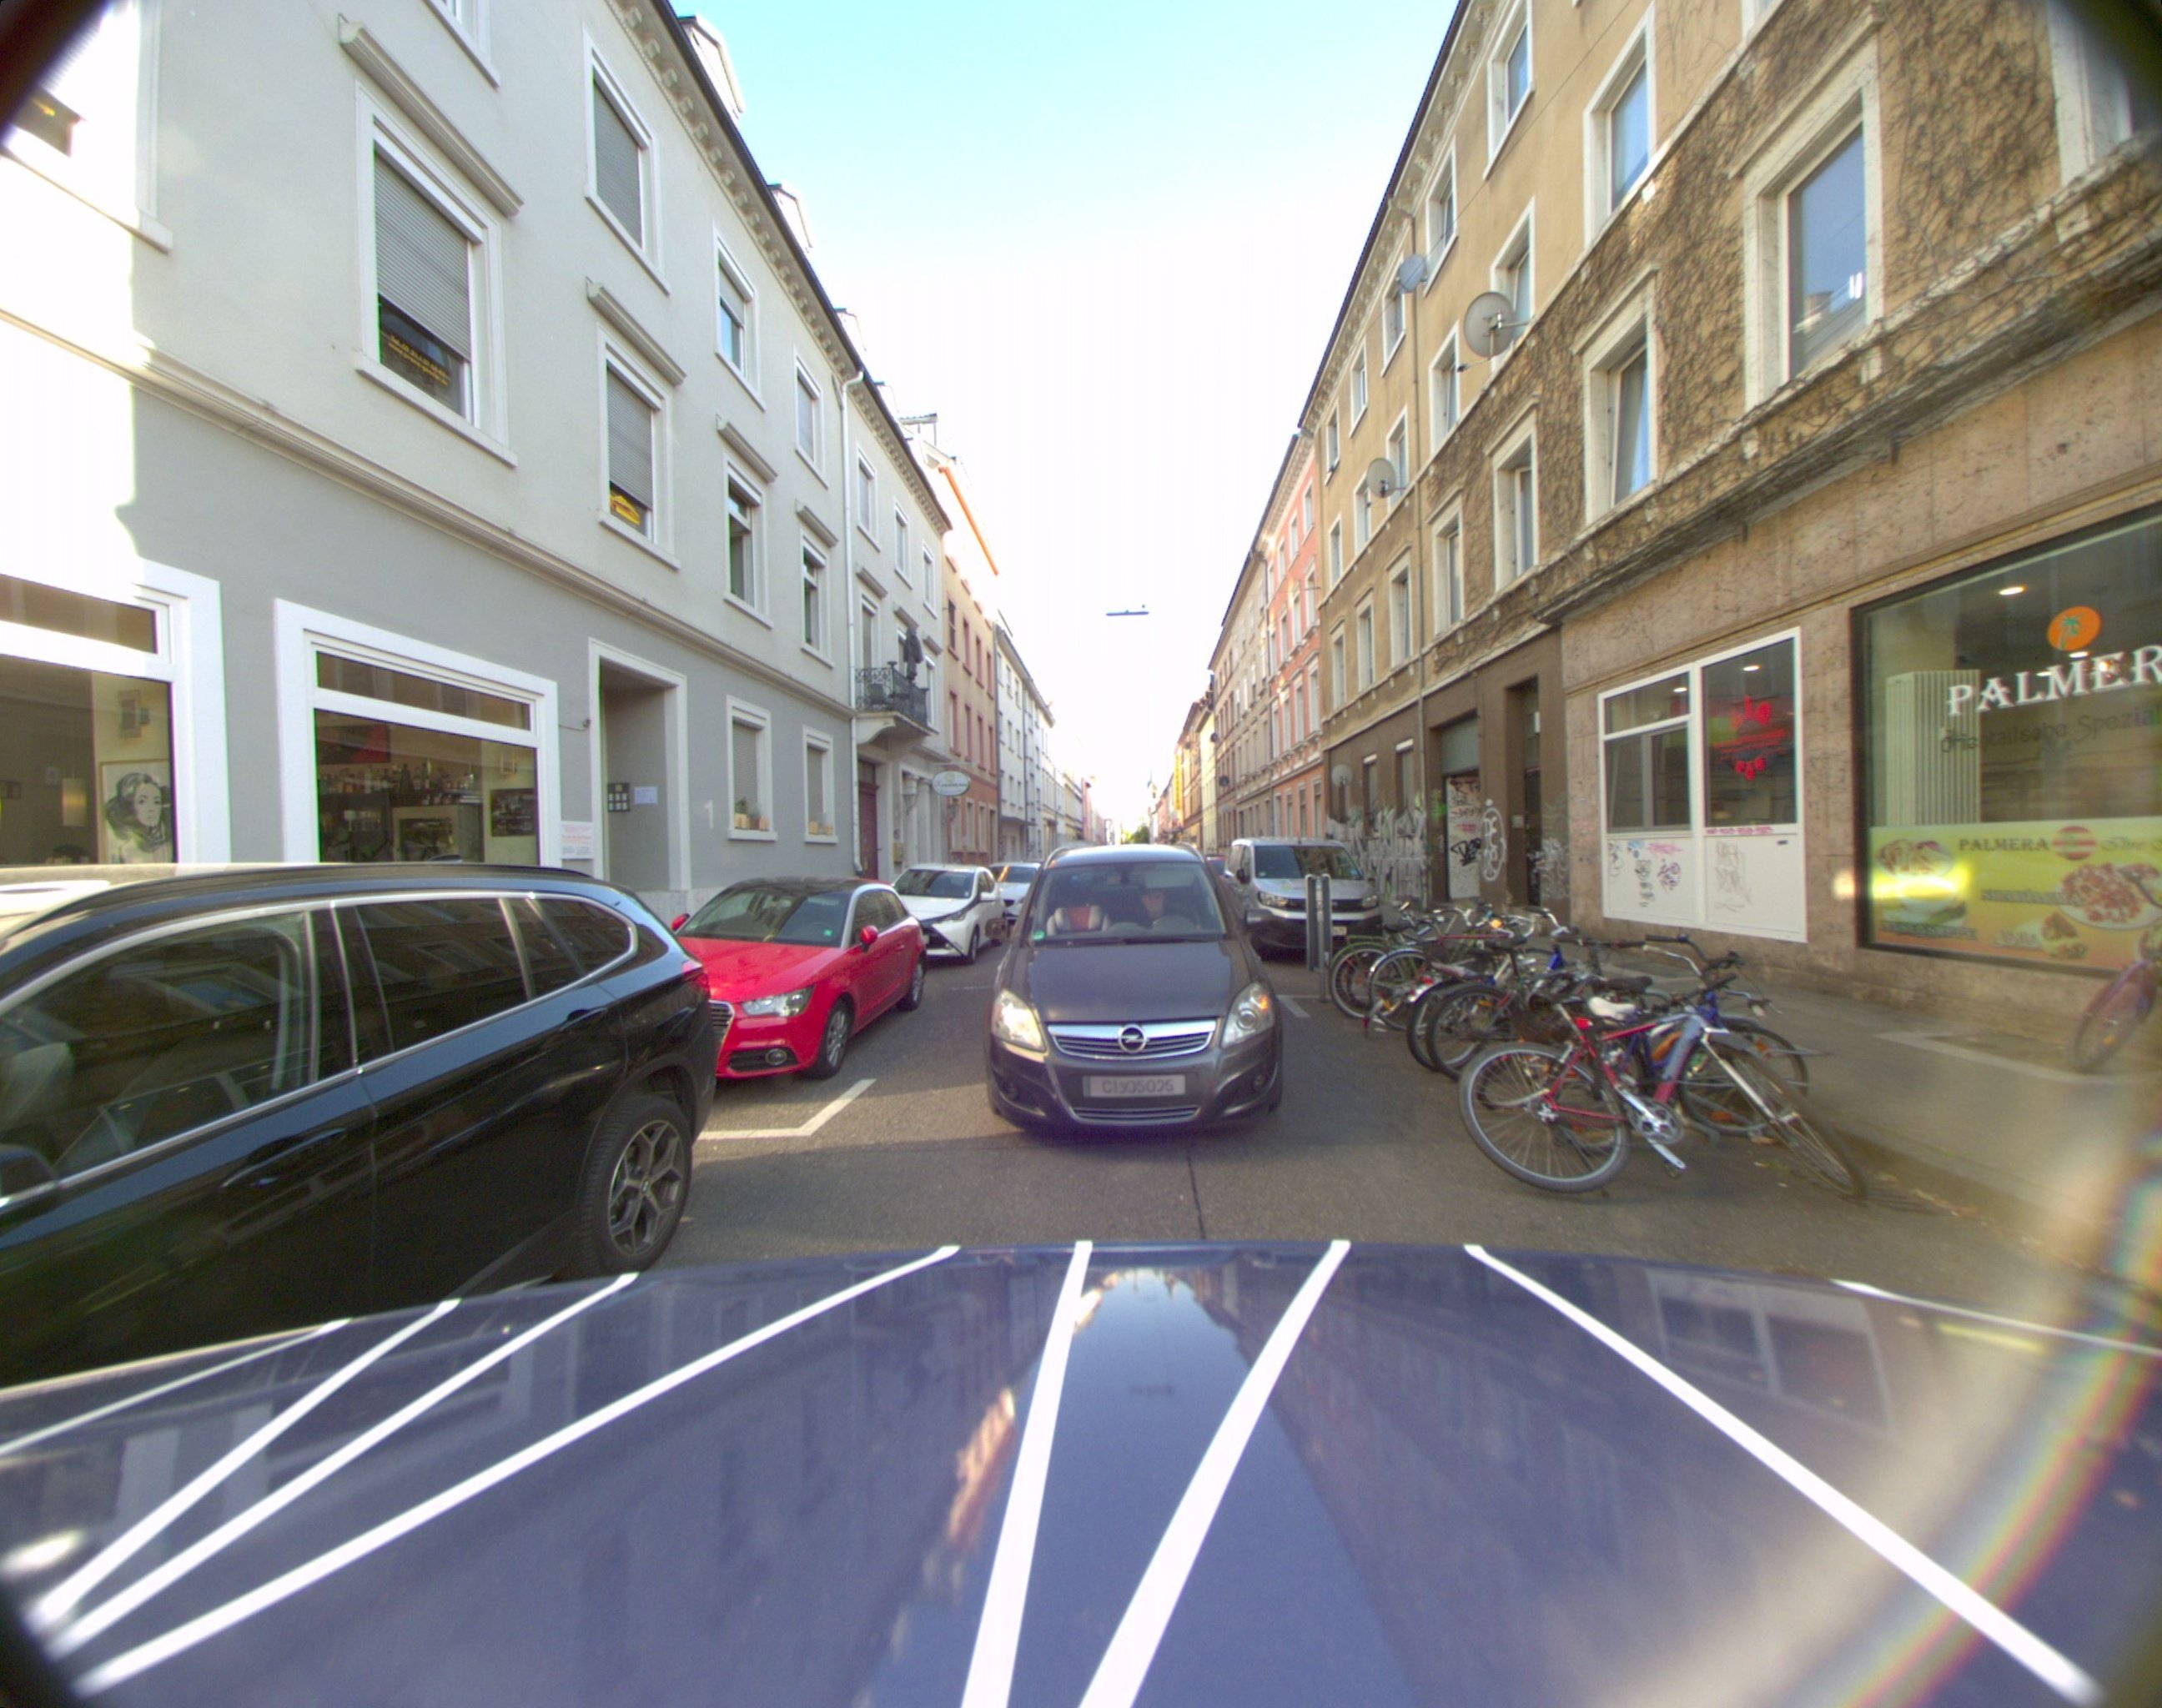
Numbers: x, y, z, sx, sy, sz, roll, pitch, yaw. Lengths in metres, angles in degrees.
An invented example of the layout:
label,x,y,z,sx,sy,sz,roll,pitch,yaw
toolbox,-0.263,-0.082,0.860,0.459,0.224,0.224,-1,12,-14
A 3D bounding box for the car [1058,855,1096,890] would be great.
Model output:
label,x,y,z,sx,sy,sz,roll,pitch,yaw
car,-0.149,0.874,37.672,1.683,1.550,3.860,-3,0,1

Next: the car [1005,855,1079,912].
label,x,y,z,sx,sy,sz,roll,pitch,yaw
car,-1.194,0.898,24.997,1.682,1.588,4.192,-3,0,6

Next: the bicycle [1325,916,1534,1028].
label,x,y,z,sx,sy,sz,roll,pitch,yaw
bicycle,3.330,1.129,7.341,1.769,0.983,0.463,-2,0,3

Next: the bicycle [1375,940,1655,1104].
label,x,y,z,sx,sy,sz,roll,pitch,yaw
bicycle,3.033,1.142,5.345,1.770,0.956,0.481,-2,0,-8

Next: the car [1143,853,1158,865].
label,x,y,z,sx,sy,sz,roll,pitch,yaw
car,8.711,0.577,95.241,1.683,1.381,3.861,-2,0,4

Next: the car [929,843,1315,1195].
label,x,y,z,sx,sy,sz,roll,pitch,yaw
car,0.346,0.815,6.306,1.798,1.652,5.185,-3,0,3

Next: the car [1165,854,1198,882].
label,x,y,z,sx,sy,sz,roll,pitch,yaw
car,5.577,0.733,42.045,1.682,1.454,3.862,-2,0,8

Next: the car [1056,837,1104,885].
label,x,y,z,sx,sy,sz,roll,pitch,yaw
car,0.037,0.386,44.387,2.049,2.498,6.026,-3,0,6

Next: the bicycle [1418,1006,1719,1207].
label,x,y,z,sx,sy,sz,roll,pitch,yaw
bicycle,2.408,1.226,3.783,1.312,0.813,0.355,-2,0,-6

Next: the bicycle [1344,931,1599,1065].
label,x,y,z,sx,sy,sz,roll,pitch,yaw
bicycle,3.063,1.132,6.046,1.769,0.956,0.443,-2,0,3

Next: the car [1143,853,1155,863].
label,x,y,z,sx,sy,sz,roll,pitch,yaw
car,10.488,0.628,117.173,1.683,1.381,3.861,-2,0,4

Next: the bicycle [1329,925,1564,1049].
label,x,y,z,sx,sy,sz,roll,pitch,yaw
bicycle,3.084,1.125,6.493,1.769,0.956,0.422,-2,0,3

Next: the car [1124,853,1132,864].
label,x,y,z,sx,sy,sz,roll,pitch,yaw
car,9.884,0.950,159.456,1.683,2.077,4.160,-3,0,4

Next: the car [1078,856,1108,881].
label,x,y,z,sx,sy,sz,roll,pitch,yaw
car,0.808,0.891,49.382,1.683,1.434,3.861,-3,0,4

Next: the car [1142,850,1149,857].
label,x,y,z,sx,sy,sz,roll,pitch,yaw
car,17.003,-0.062,201.111,1.683,1.851,4.160,-3,0,4

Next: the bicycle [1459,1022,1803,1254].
label,x,y,z,sx,sy,sz,roll,pitch,yaw
bicycle,2.421,1.227,3.380,1.312,0.813,0.371,-2,0,-6

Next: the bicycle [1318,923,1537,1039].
label,x,y,z,sx,sy,sz,roll,pitch,yaw
bicycle,3.116,1.144,6.912,1.769,0.956,0.405,-2,0,3

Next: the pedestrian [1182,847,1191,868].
label,x,y,z,sx,sy,sz,roll,pitch,yaw
pedestrian,9.483,0.321,68.296,0.626,1.820,0.595,-3,1,5

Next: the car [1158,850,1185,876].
label,x,y,z,sx,sy,sz,roll,pitch,yaw
car,6.180,0.586,52.195,1.683,1.674,3.861,-2,0,4

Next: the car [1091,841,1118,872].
label,x,y,z,sx,sy,sz,roll,pitch,yaw
car,2.249,0.193,70.782,2.049,2.662,6.187,-3,0,4

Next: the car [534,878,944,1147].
label,x,y,z,sx,sy,sz,roll,pitch,yaw
car,-2.524,1.068,6.772,1.649,1.494,3.955,-3,0,2

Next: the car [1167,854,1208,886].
label,x,y,z,sx,sy,sz,roll,pitch,yaw
car,5.140,0.734,37.073,1.683,1.454,4.314,-2,0,4

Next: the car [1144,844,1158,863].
label,x,y,z,sx,sy,sz,roll,pitch,yaw
car,9.420,-0.072,102.190,1.683,2.352,4.099,-2,0,4

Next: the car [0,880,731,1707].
label,x,y,z,sx,sy,sz,roll,pitch,yaw
car,-2.657,0.999,1.495,1.764,1.652,4.198,-3,0,2

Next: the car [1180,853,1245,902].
label,x,y,z,sx,sy,sz,roll,pitch,yaw
car,4.324,0.744,25.343,1.683,1.540,2.960,0,0,0

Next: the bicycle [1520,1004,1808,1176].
label,x,y,z,sx,sy,sz,roll,pitch,yaw
bicycle,3.209,1.278,4.210,1.391,0.813,0.361,0,0,-6

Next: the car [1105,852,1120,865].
label,x,y,z,sx,sy,sz,roll,pitch,yaw
car,4.099,0.602,98.054,1.683,1.588,3.861,-3,0,4

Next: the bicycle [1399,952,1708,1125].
label,x,y,z,sx,sy,sz,roll,pitch,yaw
bicycle,3.036,1.169,4.937,1.770,0.956,0.427,-2,0,-3

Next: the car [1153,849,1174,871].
label,x,y,z,sx,sy,sz,roll,pitch,yaw
car,7.560,0.494,69.602,1.751,1.880,4.773,-2,0,6

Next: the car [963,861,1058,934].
label,x,y,z,sx,sy,sz,roll,pitch,yaw
car,-1.631,0.991,19.046,1.683,1.501,4.191,-3,0,3

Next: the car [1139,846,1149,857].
label,x,y,z,sx,sy,sz,roll,pitch,yaw
car,19.119,-0.776,231.134,2.564,3.029,7.063,-3,0,4

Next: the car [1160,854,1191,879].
label,x,y,z,sx,sy,sz,roll,pitch,yaw
car,5.850,0.758,47.502,1.683,1.454,3.861,-2,0,4

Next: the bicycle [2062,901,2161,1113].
label,x,y,z,sx,sy,sz,roll,pitch,yaw
bicycle,5.903,0.833,3.652,0.398,1.086,1.591,-1,1,4

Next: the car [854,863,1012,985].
label,x,y,z,sx,sy,sz,roll,pitch,yaw
car,-2.243,1.000,12.528,1.640,1.577,3.789,-3,0,2

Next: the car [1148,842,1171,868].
label,x,y,z,sx,sy,sz,roll,pitch,yaw
car,8.328,0.068,80.896,2.093,2.576,5.844,-2,0,3

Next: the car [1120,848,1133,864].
label,x,y,z,sx,sy,sz,roll,pitch,yaw
car,9.985,0.373,166.275,2.436,3.404,5.544,-3,0,4

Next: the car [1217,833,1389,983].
label,x,y,z,sx,sy,sz,roll,pitch,yaw
car,3.269,0.682,12.103,1.683,1.899,4.520,1,0,4

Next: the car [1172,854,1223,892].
label,x,y,z,sx,sy,sz,roll,pitch,yaw
car,4.909,0.755,32.289,1.683,1.483,3.612,-2,0,2

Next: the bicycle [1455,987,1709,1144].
label,x,y,z,sx,sy,sz,roll,pitch,yaw
bicycle,2.968,1.234,4.531,1.312,0.813,0.381,0,0,-6

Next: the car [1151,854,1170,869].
label,x,y,z,sx,sy,sz,roll,pitch,yaw
car,7.792,0.683,74.879,1.683,1.381,3.861,-2,0,4

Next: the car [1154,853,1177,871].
label,x,y,z,sx,sy,sz,roll,pitch,yaw
car,6.982,0.651,62.906,1.683,1.407,3.861,-2,0,4

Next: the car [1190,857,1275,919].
label,x,y,z,sx,sy,sz,roll,pitch,yaw
car,4.021,0.839,20.786,1.683,1.465,4.204,0,0,3

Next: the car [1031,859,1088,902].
label,x,y,z,sx,sy,sz,roll,pitch,yaw
car,-0.760,0.970,29.414,1.771,1.386,4.495,-3,0,3
